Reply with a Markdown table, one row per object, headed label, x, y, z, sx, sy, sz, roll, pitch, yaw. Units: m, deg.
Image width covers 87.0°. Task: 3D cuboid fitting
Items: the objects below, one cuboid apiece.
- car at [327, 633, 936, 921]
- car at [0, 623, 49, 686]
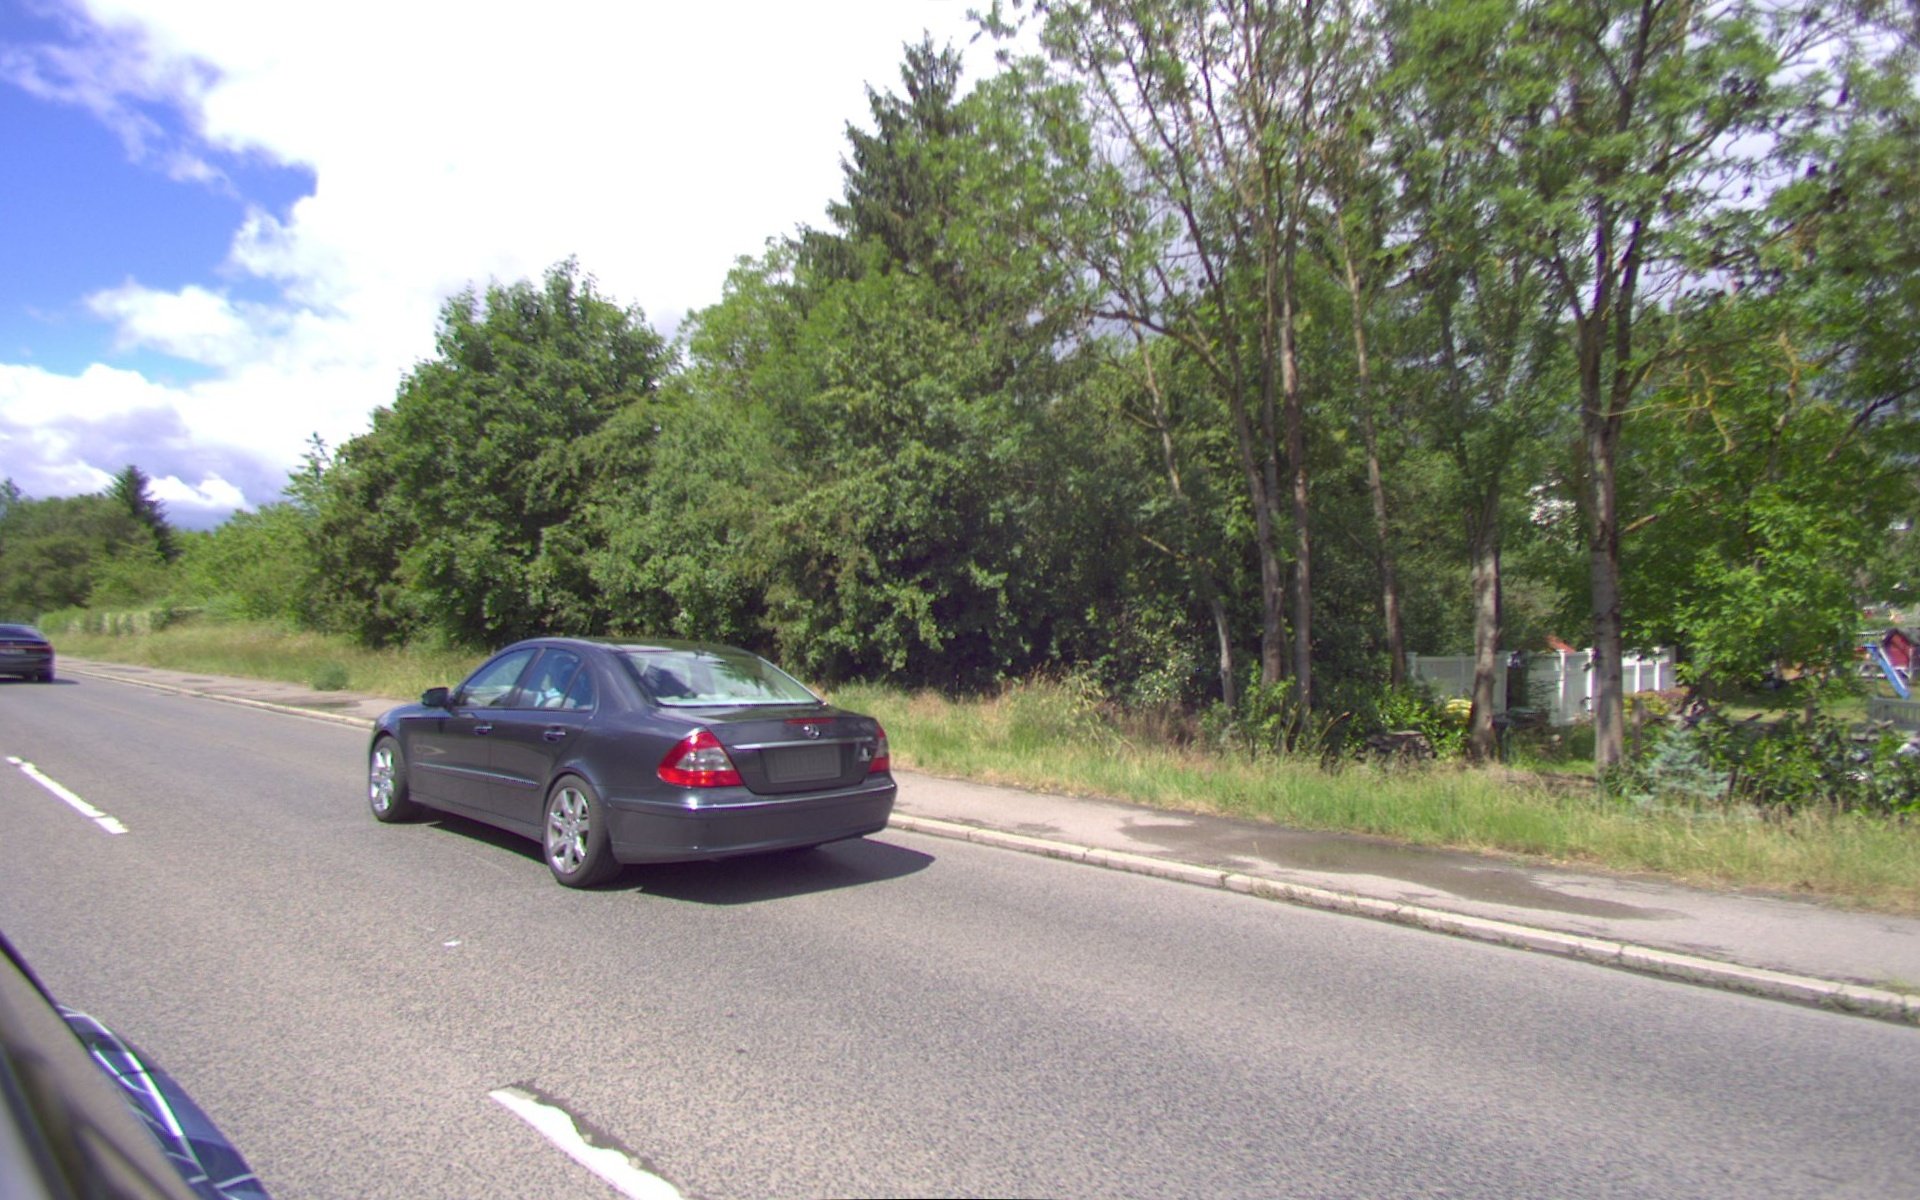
| label | x | y | z | sx | sy | sz | roll | pitch | yaw |
| --- | --- | --- | --- | --- | --- | --- | --- | --- | --- |
| car | -2.484 | 0.932 | 6.937 | 4.618 | 1.344 | 1.766 | -2 | -4 | 40 |
| car | -25.018 | 1.361 | 25.885 | 4.713 | 1.503 | 1.865 | -2 | -4 | 40 |
